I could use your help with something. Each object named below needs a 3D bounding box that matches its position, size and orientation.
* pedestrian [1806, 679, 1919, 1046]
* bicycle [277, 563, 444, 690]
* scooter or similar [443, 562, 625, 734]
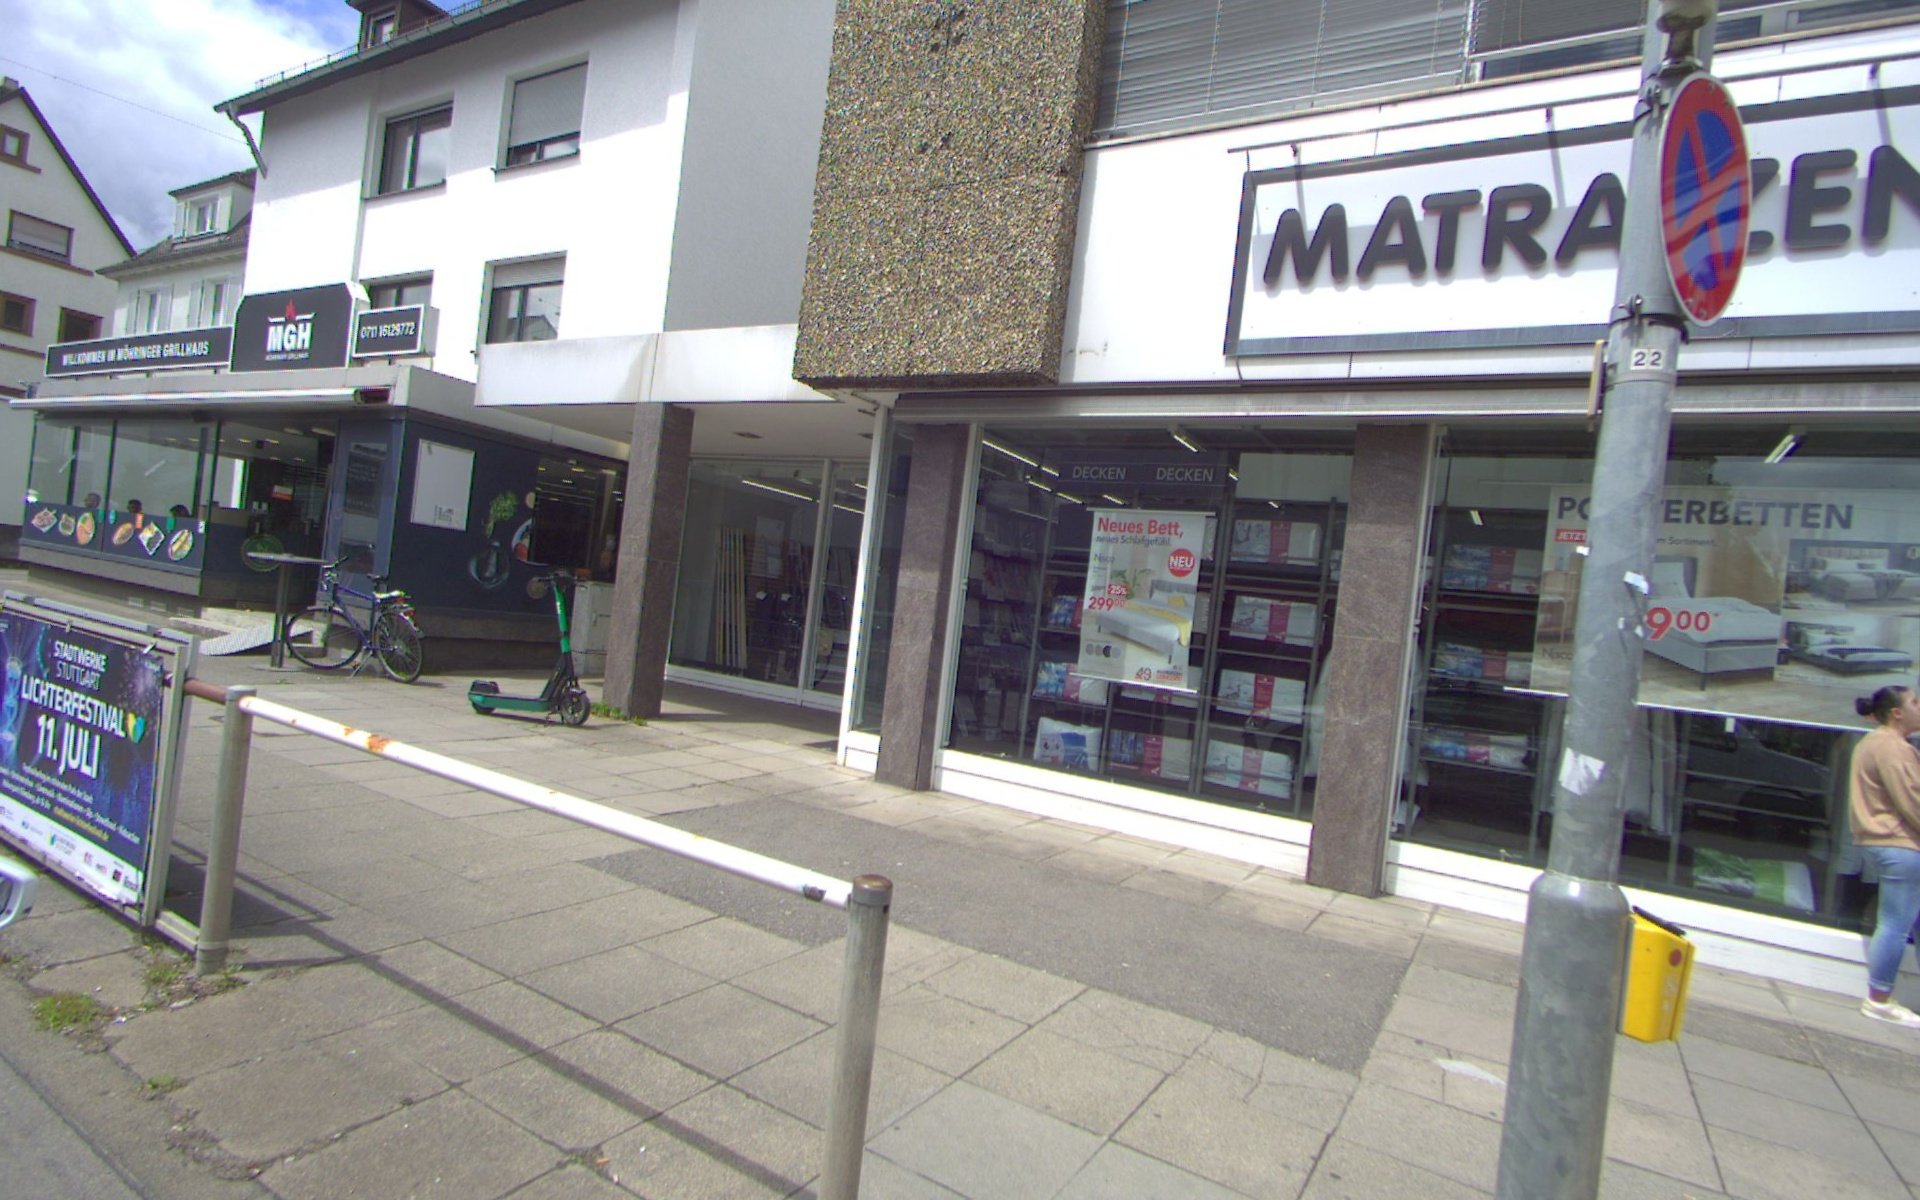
[{"bbox_3d":[4.381,1.156,4.464,0.708,1.517,0.680,7,1,31],"label":"pedestrian"},{"bbox_3d":[-5.943,0.248,9.957,1.606,1.041,0.476,7,1,22],"label":"bicycle"},{"bbox_3d":[-3.636,0.393,8.611,1.163,1.283,0.690,6,1,19],"label":"scooter or similar"}]
